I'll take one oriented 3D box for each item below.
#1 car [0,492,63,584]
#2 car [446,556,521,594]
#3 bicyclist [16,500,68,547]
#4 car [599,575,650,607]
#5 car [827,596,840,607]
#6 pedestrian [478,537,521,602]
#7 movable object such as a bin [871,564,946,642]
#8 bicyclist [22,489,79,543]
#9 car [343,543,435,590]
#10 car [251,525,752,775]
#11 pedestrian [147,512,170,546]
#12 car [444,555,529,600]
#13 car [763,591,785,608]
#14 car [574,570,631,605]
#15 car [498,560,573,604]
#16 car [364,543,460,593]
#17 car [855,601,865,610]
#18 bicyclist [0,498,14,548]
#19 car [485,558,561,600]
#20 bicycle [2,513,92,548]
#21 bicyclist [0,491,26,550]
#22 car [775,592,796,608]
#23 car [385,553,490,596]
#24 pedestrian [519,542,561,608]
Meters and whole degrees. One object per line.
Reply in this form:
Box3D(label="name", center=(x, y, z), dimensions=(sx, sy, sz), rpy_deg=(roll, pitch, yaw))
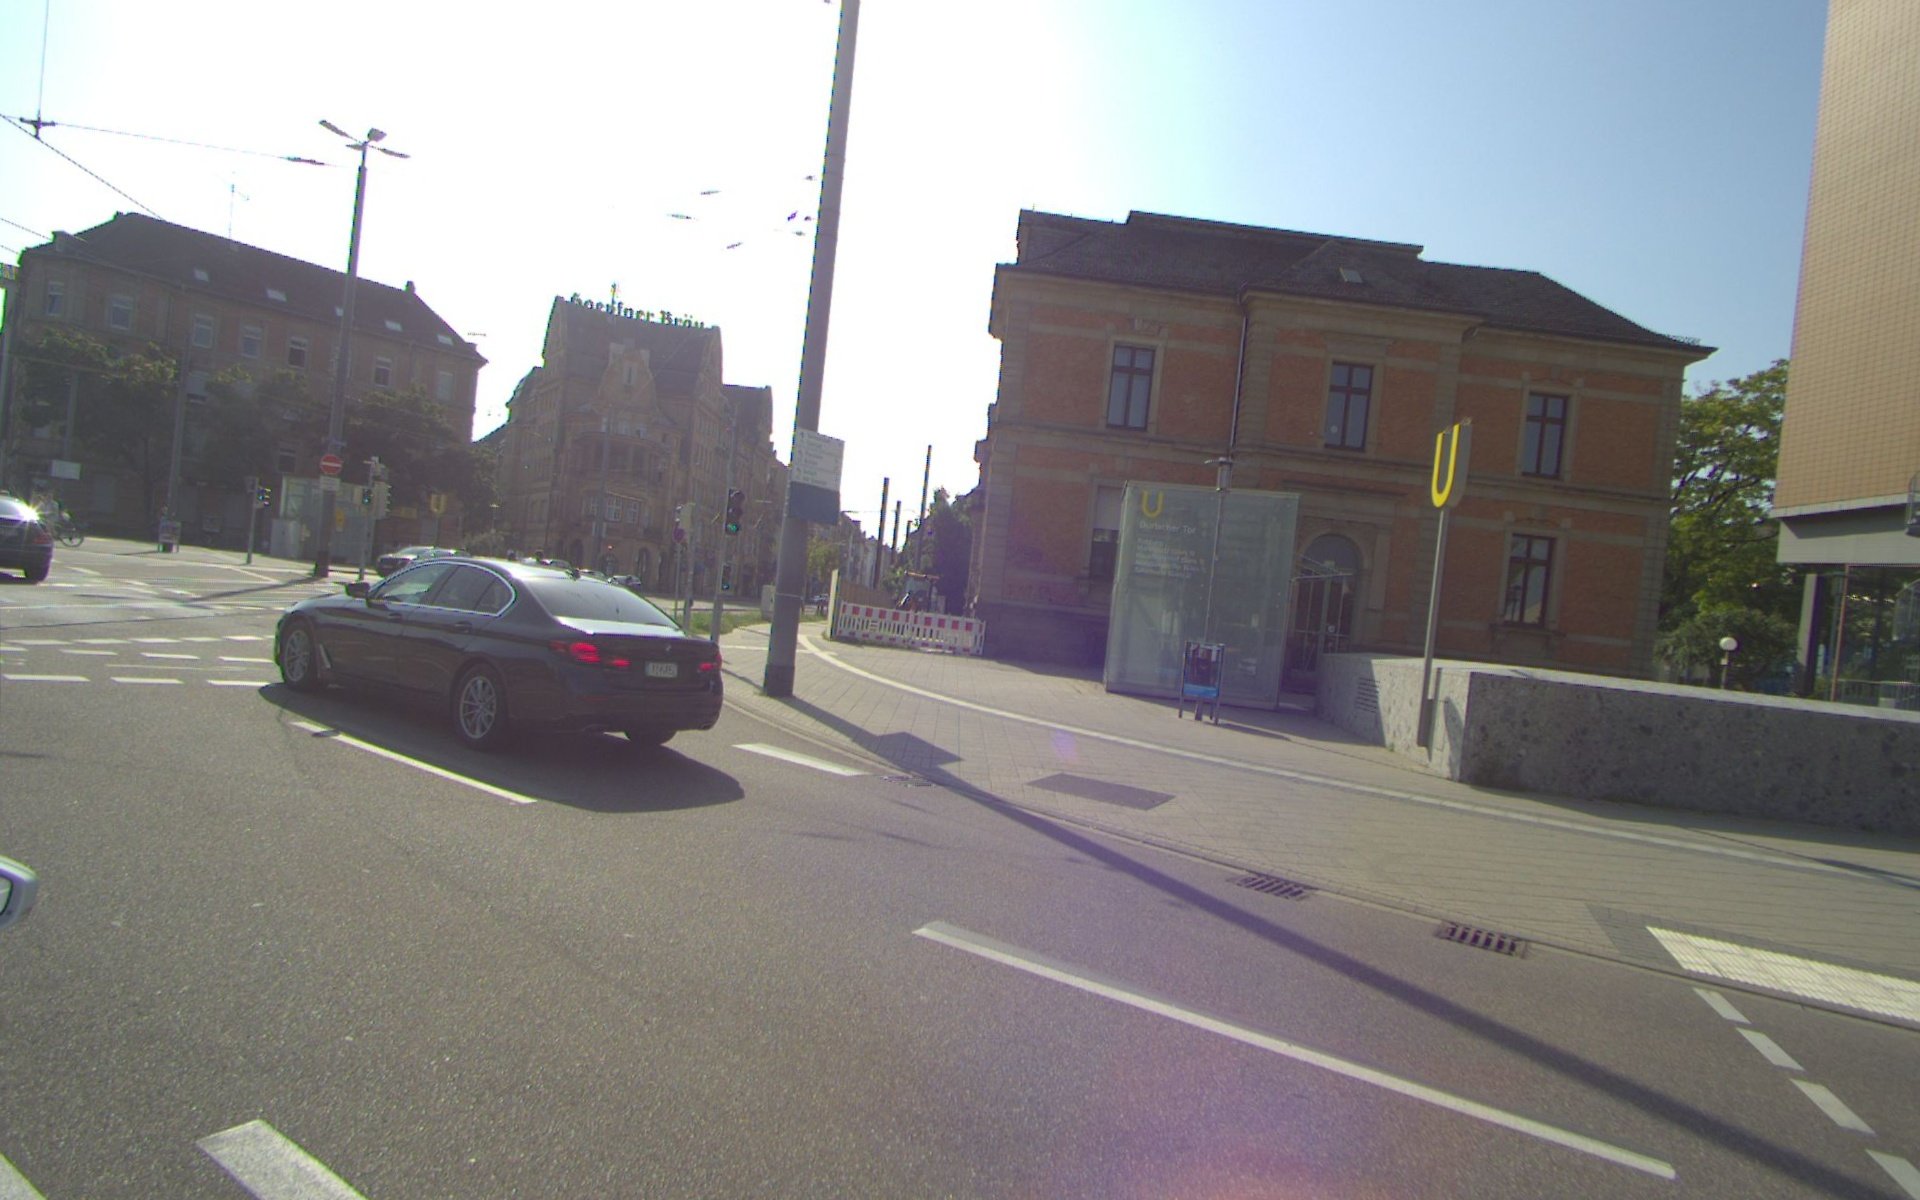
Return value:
Box3D(label="car", center=(-17.655, -1.247, 17.627), dimensions=(4.300, 1.460, 1.684), rpy_deg=(6, 0, 32))
Box3D(label="car", center=(-28.845, -1.488, 61.032), dimensions=(1.894, 1.881, 4.277), rpy_deg=(6, -1, 9))
Box3D(label="bicyclist", center=(-36.974, -3.063, 40.528), dimensions=(1.072, 1.701, 0.937), rpy_deg=(6, 0, 5))
Box3D(label="car", center=(-22.954, -0.592, 68.903), dimensions=(1.896, 1.881, 4.115), rpy_deg=(6, -1, 1))
Box3D(label="car", center=(-24.373, 0.281, 193.883), dimensions=(1.896, 1.881, 4.115), rpy_deg=(6, -1, 1))
Box3D(label="pedestrian", center=(-12.959, -0.845, 28.319), dimensions=(0.911, 1.710, 0.832), rpy_deg=(6, 0, -25))
Box3D(label="movable object such as a bin", center=(-2.096, 0.134, 39.246), dimensions=(2.409, 2.472, 7.974), rpy_deg=(6, -1, -4))
Box3D(label="bicyclist", center=(-33.001, -3.034, 36.518), dimensions=(1.074, 1.729, 0.935), rpy_deg=(6, 0, -9))
Box3D(label="car", center=(-28.136, -1.587, 49.750), dimensions=(1.919, 1.881, 4.275), rpy_deg=(6, -1, 1))
Box3D(label="car", center=(-4.216, 0.333, 8.982), dimensions=(4.595, 1.509, 1.685), rpy_deg=(6, -1, 32))
Box3D(label="pedestrian", center=(-38.022, -3.370, 47.732), dimensions=(0.538, 1.489, 0.666), rpy_deg=(6, 1, -16))
Box3D(label="car", center=(-24.551, -1.122, 52.349), dimensions=(1.874, 1.881, 4.711), rpy_deg=(6, -1, 3))
Box3D(label="car", center=(-23.777, -0.103, 128.813), dimensions=(1.896, 1.881, 4.115), rpy_deg=(6, -1, 1))
Box3D(label="car", center=(-22.712, -0.740, 64.027), dimensions=(1.941, 1.881, 4.138), rpy_deg=(6, -1, 1))
Box3D(label="car", center=(-21.472, -0.868, 51.108), dimensions=(1.875, 1.881, 4.069), rpy_deg=(6, -1, 1))
Box3D(label="car", center=(-25.118, -1.432, 46.315), dimensions=(1.874, 1.881, 4.251), rpy_deg=(6, -1, 1))
Box3D(label="car", center=(-23.752, 1.212, 238.746), dimensions=(1.896, 1.881, 4.115), rpy_deg=(6, -1, 1))
Box3D(label="bicyclist", center=(-36.709, -2.972, 37.929), dimensions=(1.072, 1.822, 0.937), rpy_deg=(6, 0, 5))
Box3D(label="car", center=(-24.300, -1.127, 56.149), dimensions=(2.007, 1.881, 4.666), rpy_deg=(6, -1, 1))
Box3D(label="bicycle", center=(-33.058, -2.491, 36.487), dimensions=(1.074, 0.976, 2.623), rpy_deg=(6, -1, -9))
Box3D(label="bicyclist", center=(-34.924, -2.913, 36.486), dimensions=(1.074, 2.049, 0.935), rpy_deg=(6, 0, -9))
Box3D(label="car", center=(-23.757, -0.036, 136.926), dimensions=(1.896, 1.881, 4.115), rpy_deg=(6, -1, 1))
Box3D(label="car", center=(-22.196, -1.024, 42.951), dimensions=(1.986, 1.414, 4.389), rpy_deg=(6, -1, 1))
Box3D(label="pedestrian", center=(-11.821, -0.701, 28.370), dimensions=(0.910, 1.710, 0.920), rpy_deg=(6, 0, -22))
